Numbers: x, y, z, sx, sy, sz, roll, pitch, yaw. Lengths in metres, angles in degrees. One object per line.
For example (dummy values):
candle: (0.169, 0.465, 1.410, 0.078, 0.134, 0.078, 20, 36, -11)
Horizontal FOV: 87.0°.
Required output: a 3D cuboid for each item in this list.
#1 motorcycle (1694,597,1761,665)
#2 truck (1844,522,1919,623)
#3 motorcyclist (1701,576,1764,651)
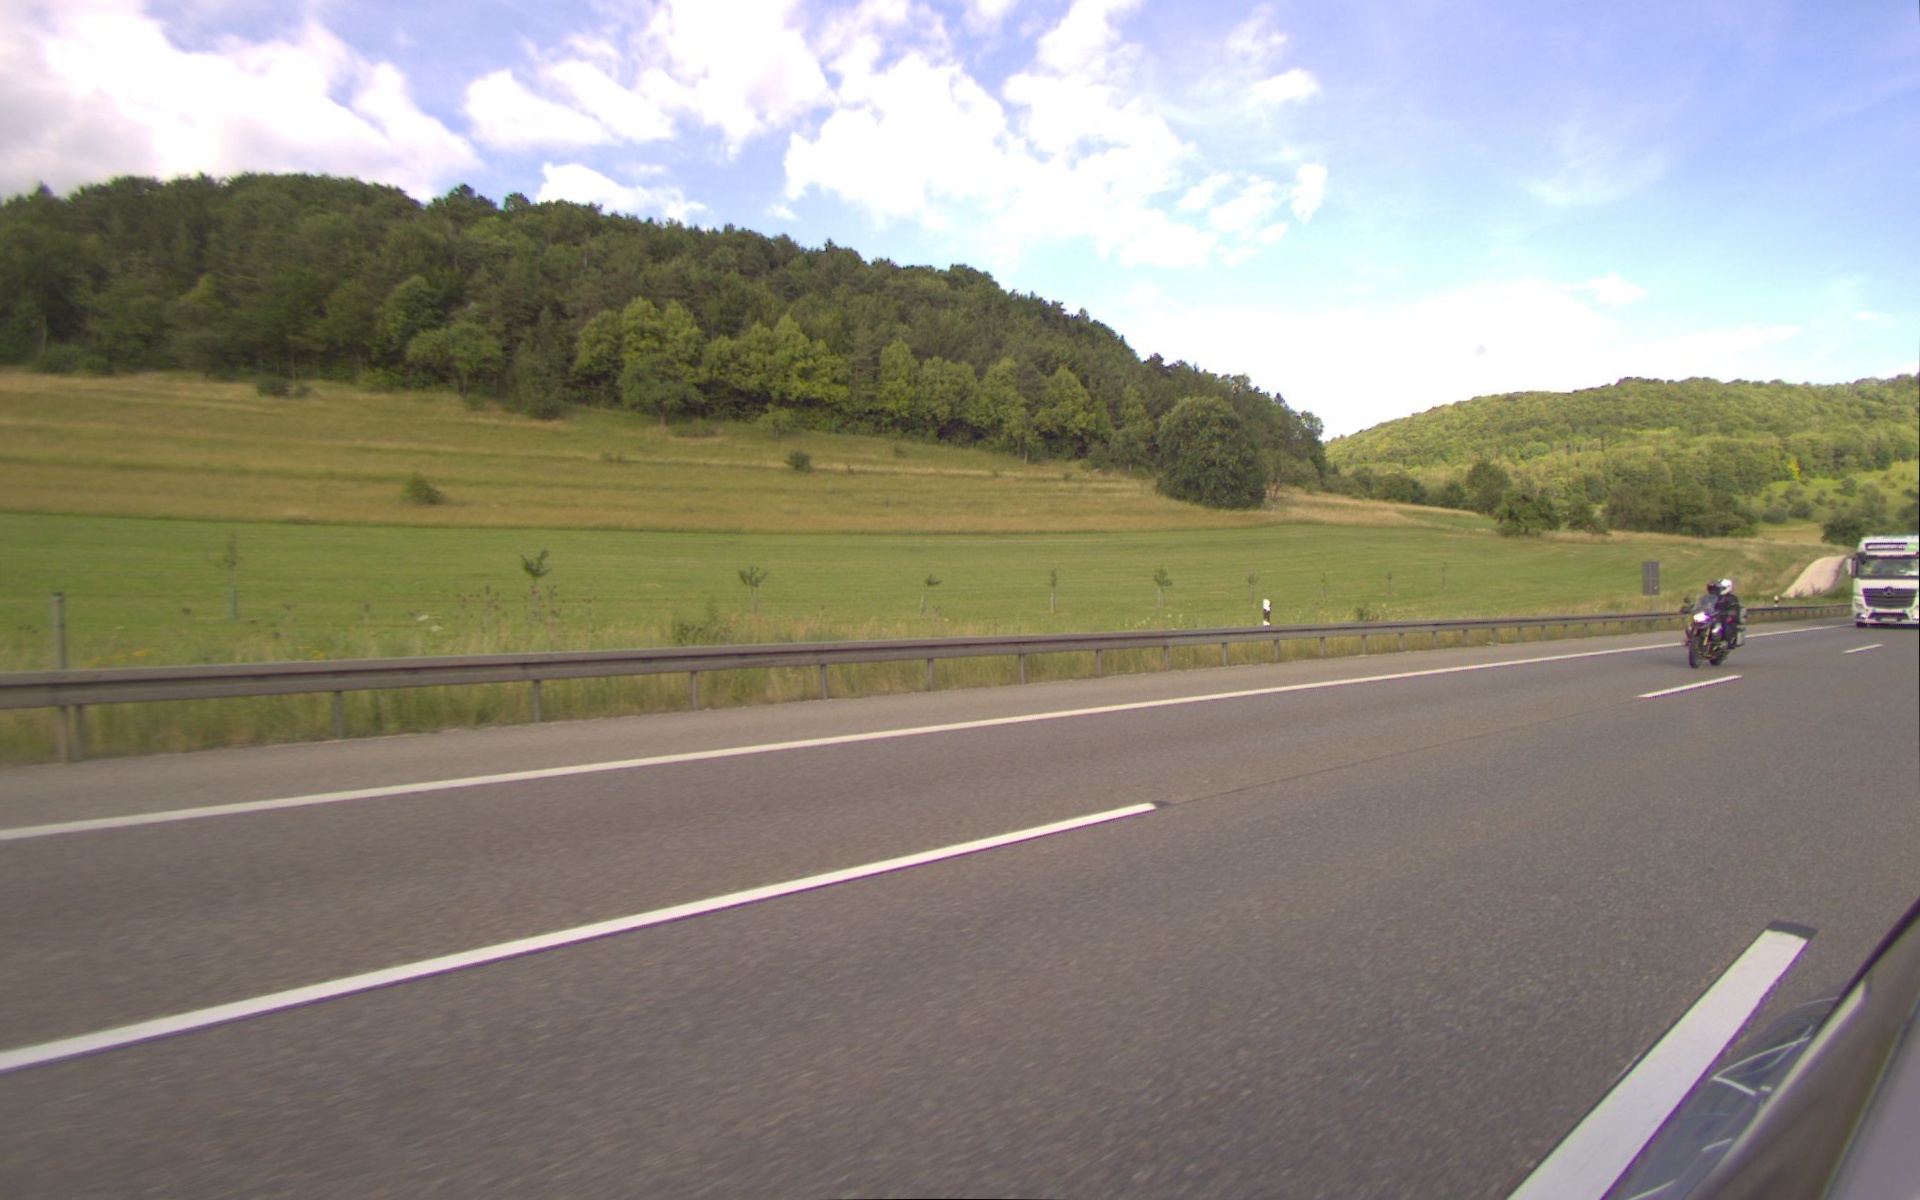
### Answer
motorcycle: (16.015, 0.619, 21.114, 1.706, 1.356, 0.629, -1, 0, -35)
truck: (44.457, -1.207, 46.466, 17.414, 4.042, 2.971, -1, 1, -39)
motorcyclist: (16.289, 0.269, 21.339, 0.783, 1.534, 0.878, -1, 0, -39)
